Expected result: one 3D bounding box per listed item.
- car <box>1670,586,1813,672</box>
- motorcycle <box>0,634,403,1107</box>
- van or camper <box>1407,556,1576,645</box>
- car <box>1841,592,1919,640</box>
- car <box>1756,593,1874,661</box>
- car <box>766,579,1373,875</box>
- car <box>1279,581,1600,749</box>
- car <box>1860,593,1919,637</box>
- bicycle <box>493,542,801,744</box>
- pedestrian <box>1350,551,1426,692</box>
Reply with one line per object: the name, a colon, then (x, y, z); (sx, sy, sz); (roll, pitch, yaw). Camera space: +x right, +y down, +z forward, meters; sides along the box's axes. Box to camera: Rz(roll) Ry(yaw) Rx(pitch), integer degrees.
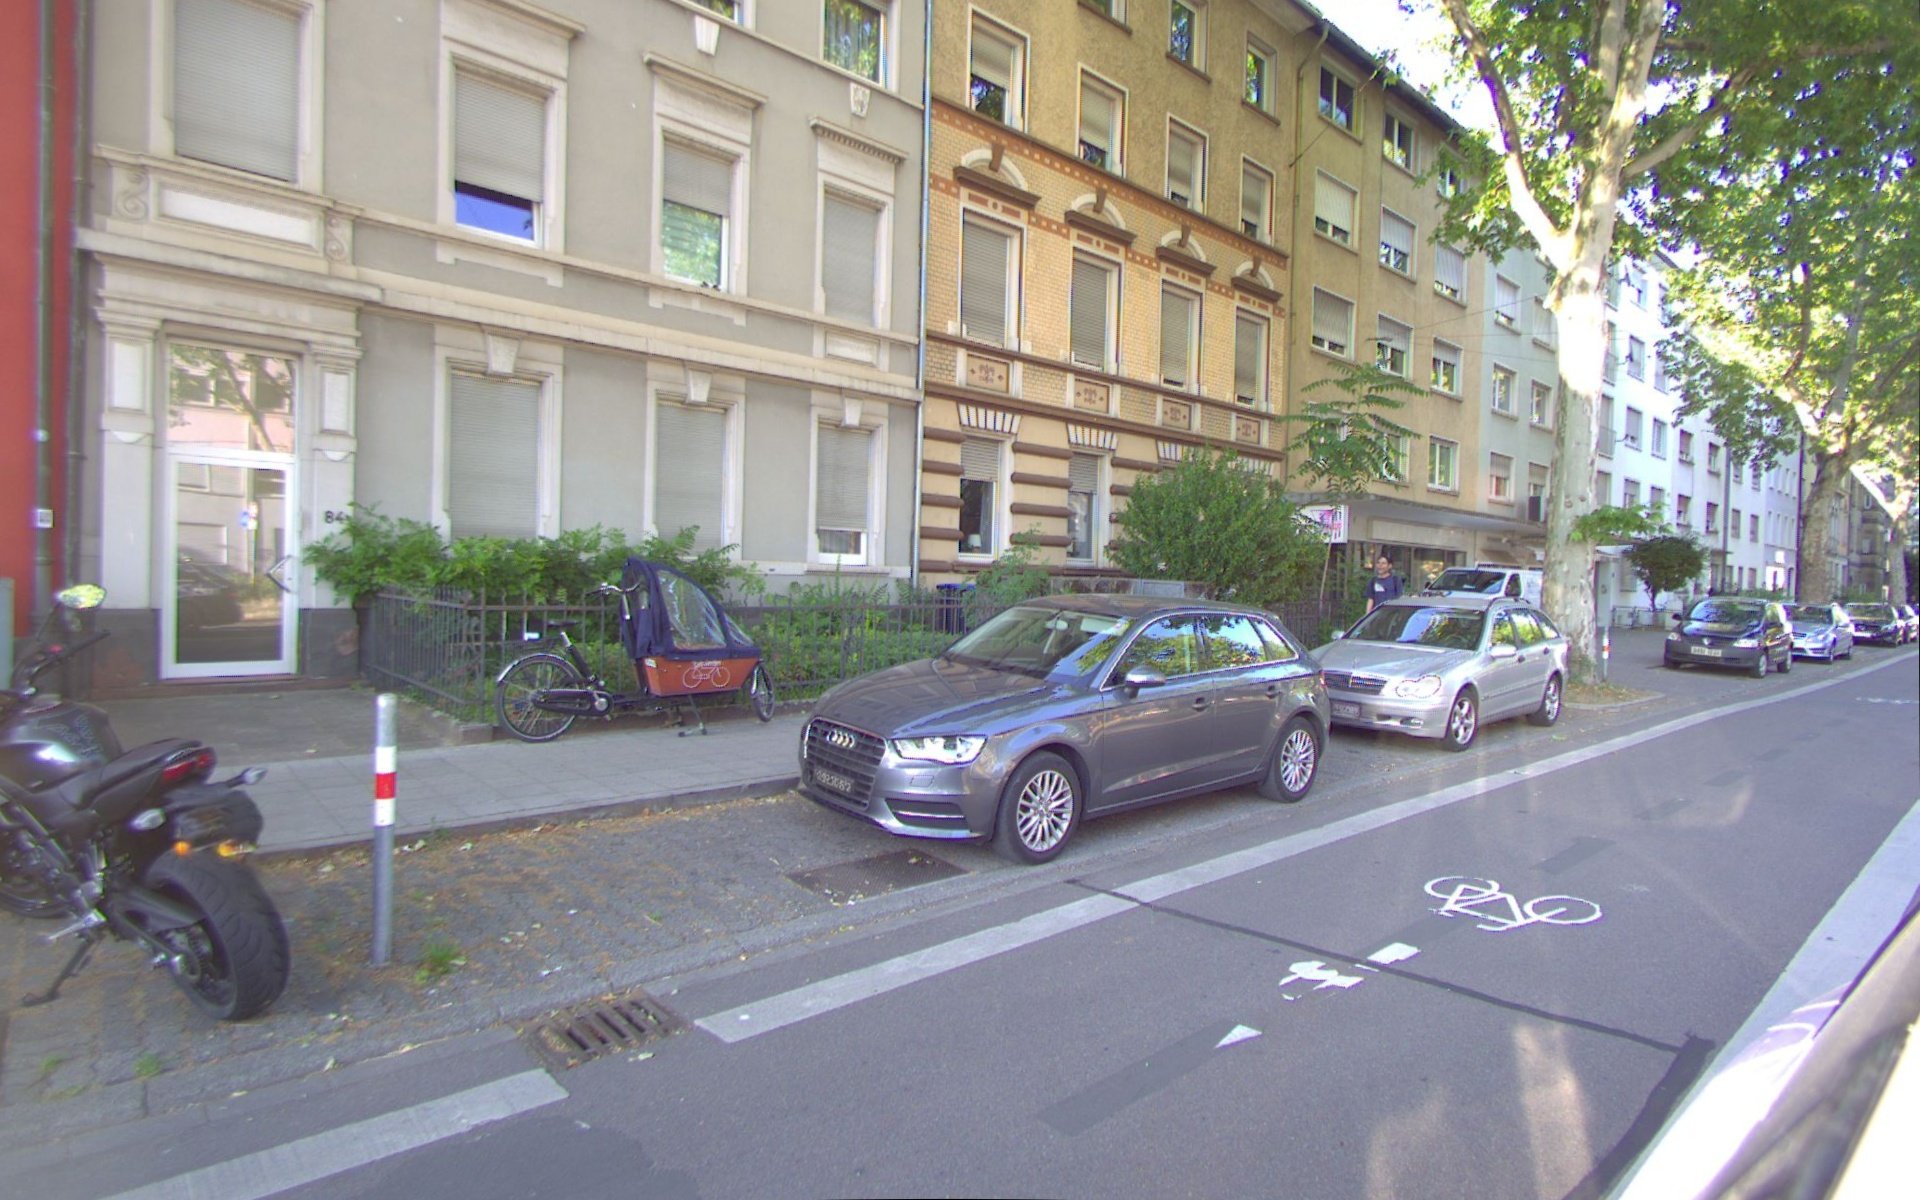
car: (16.241, 0.526, 20.970); (3.932, 1.564, 1.656); (0, 2, -42)
motorcycle: (-3.026, 0.761, 3.578); (2.193, 1.076, 0.760); (4, 2, 28)
van or camper: (13.174, -0.021, 24.922); (5.299, 1.946, 1.945); (0, 2, -42)
car: (31.662, 0.507, 34.616); (4.289, 1.432, 1.712); (0, 4, -42)
car: (21.994, 0.628, 25.964); (4.695, 1.561, 1.697); (0, 2, -42)
car: (0.971, 0.608, 6.985); (4.245, 1.414, 1.714); (0, 2, -41)
car: (5.458, 0.566, 11.213); (4.494, 1.469, 1.676); (0, 2, -43)
car: (35.188, 0.518, 37.885); (4.289, 1.432, 1.712); (0, 4, -42)
bicycle: (-2.465, 0.300, 8.238); (2.354, 1.445, 0.608); (0, 0, -41)
pedestrian: (6.418, 0.298, 15.158); (0.995, 2.038, 0.683); (0, 1, -45)
